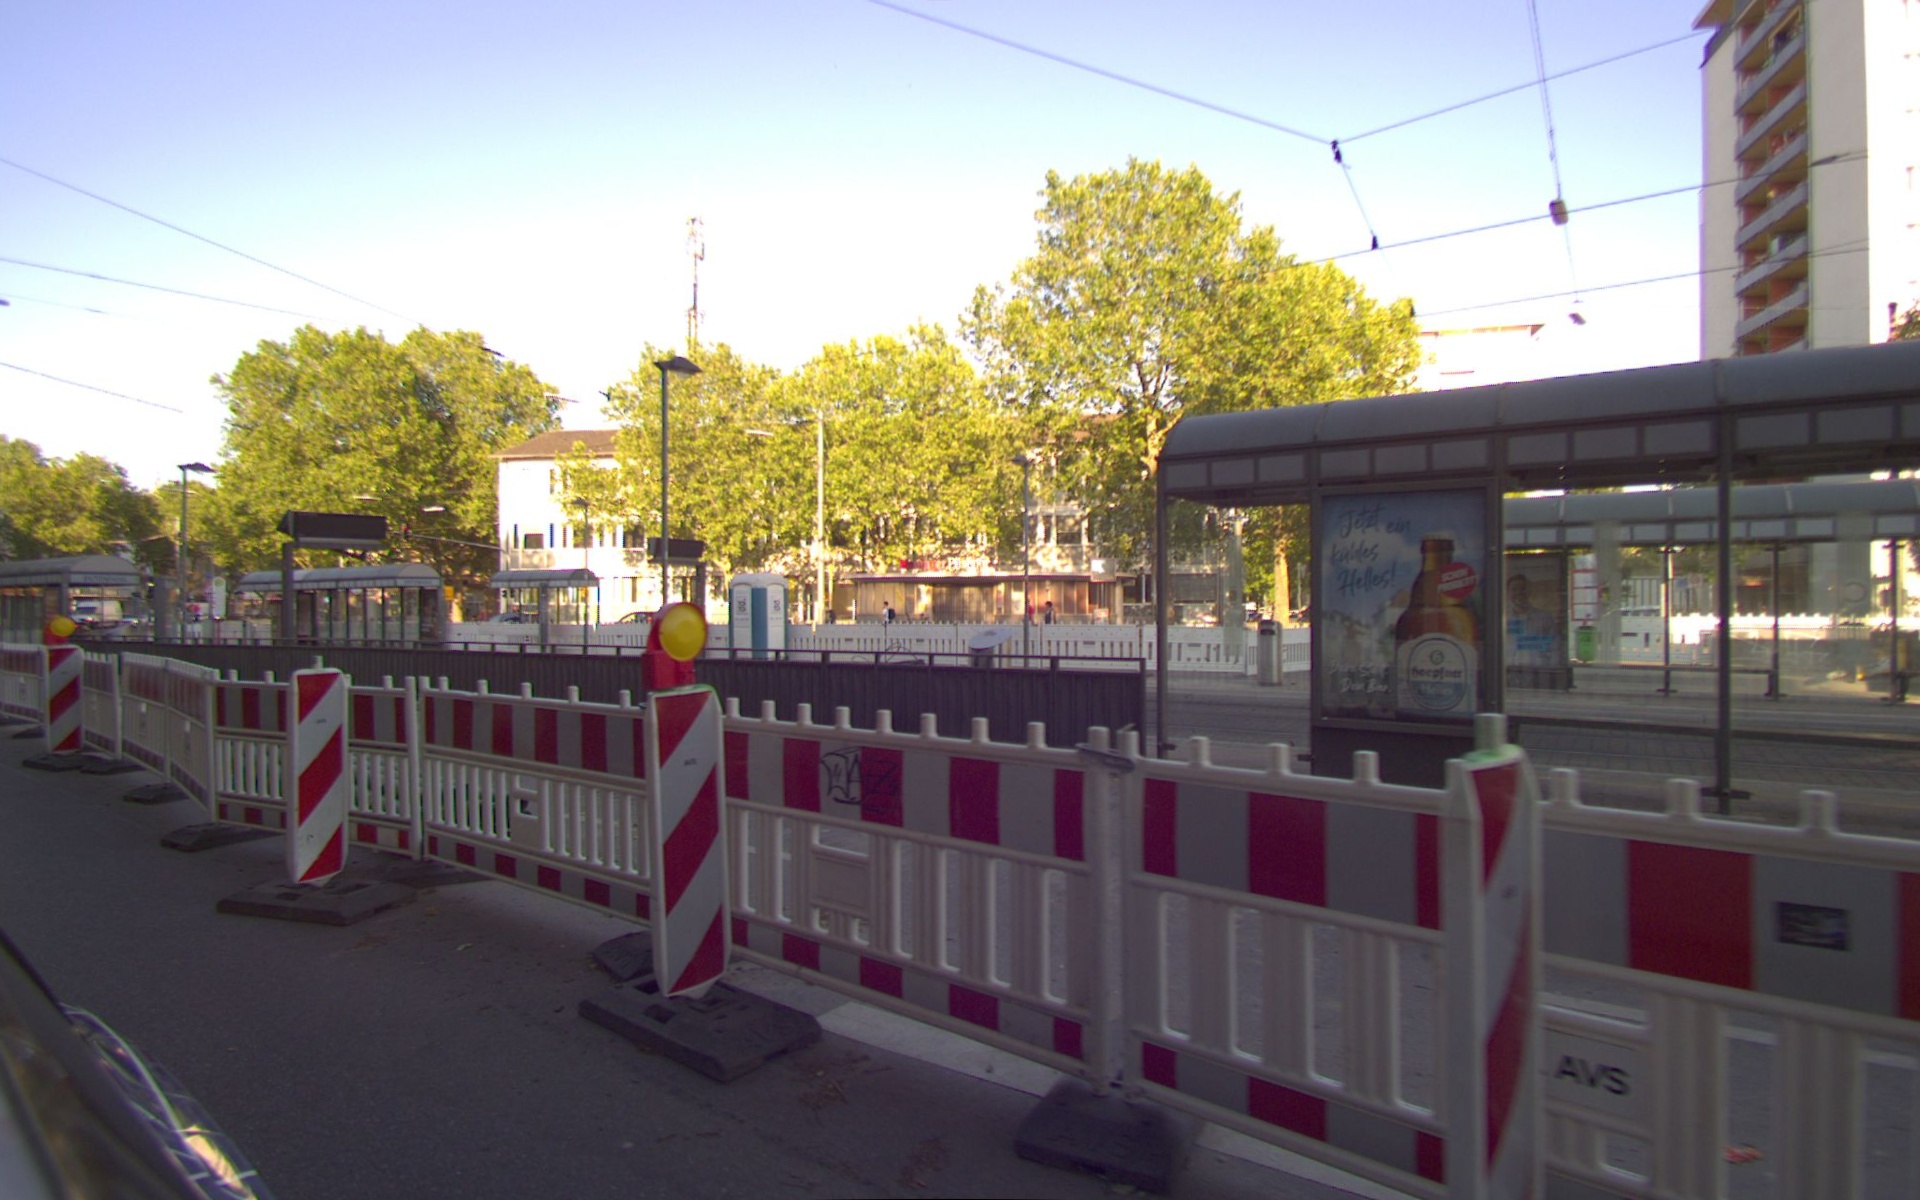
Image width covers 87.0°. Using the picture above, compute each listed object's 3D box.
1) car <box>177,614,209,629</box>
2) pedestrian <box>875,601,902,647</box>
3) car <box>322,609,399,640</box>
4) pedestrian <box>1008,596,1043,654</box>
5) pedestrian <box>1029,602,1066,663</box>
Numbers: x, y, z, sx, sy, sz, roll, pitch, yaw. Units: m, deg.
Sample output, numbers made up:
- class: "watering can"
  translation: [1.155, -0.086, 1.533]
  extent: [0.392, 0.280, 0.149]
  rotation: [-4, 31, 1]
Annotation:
- class: "car"
  translation: [-86.157, 2.401, 113.729]
  extent: [1.677, 1.599, 3.718]
  rotation: [-1, 0, -18]
- class: "pedestrian"
  translation: [-3.204, 1.061, 45.566]
  extent: [0.884, 2.029, 0.875]
  rotation: [-1, -1, 29]
- class: "car"
  translation: [-31.920, 1.311, 53.938]
  extent: [3.359, 1.586, 1.675]
  rotation: [-1, -1, 15]
- class: "pedestrian"
  translation: [2.354, 0.876, 36.169]
  extent: [0.883, 2.029, 0.875]
  rotation: [-1, -1, 40]
- class: "pedestrian"
  translation: [2.988, 1.091, 34.419]
  extent: [0.883, 2.029, 0.875]
  rotation: [-1, -1, 40]
